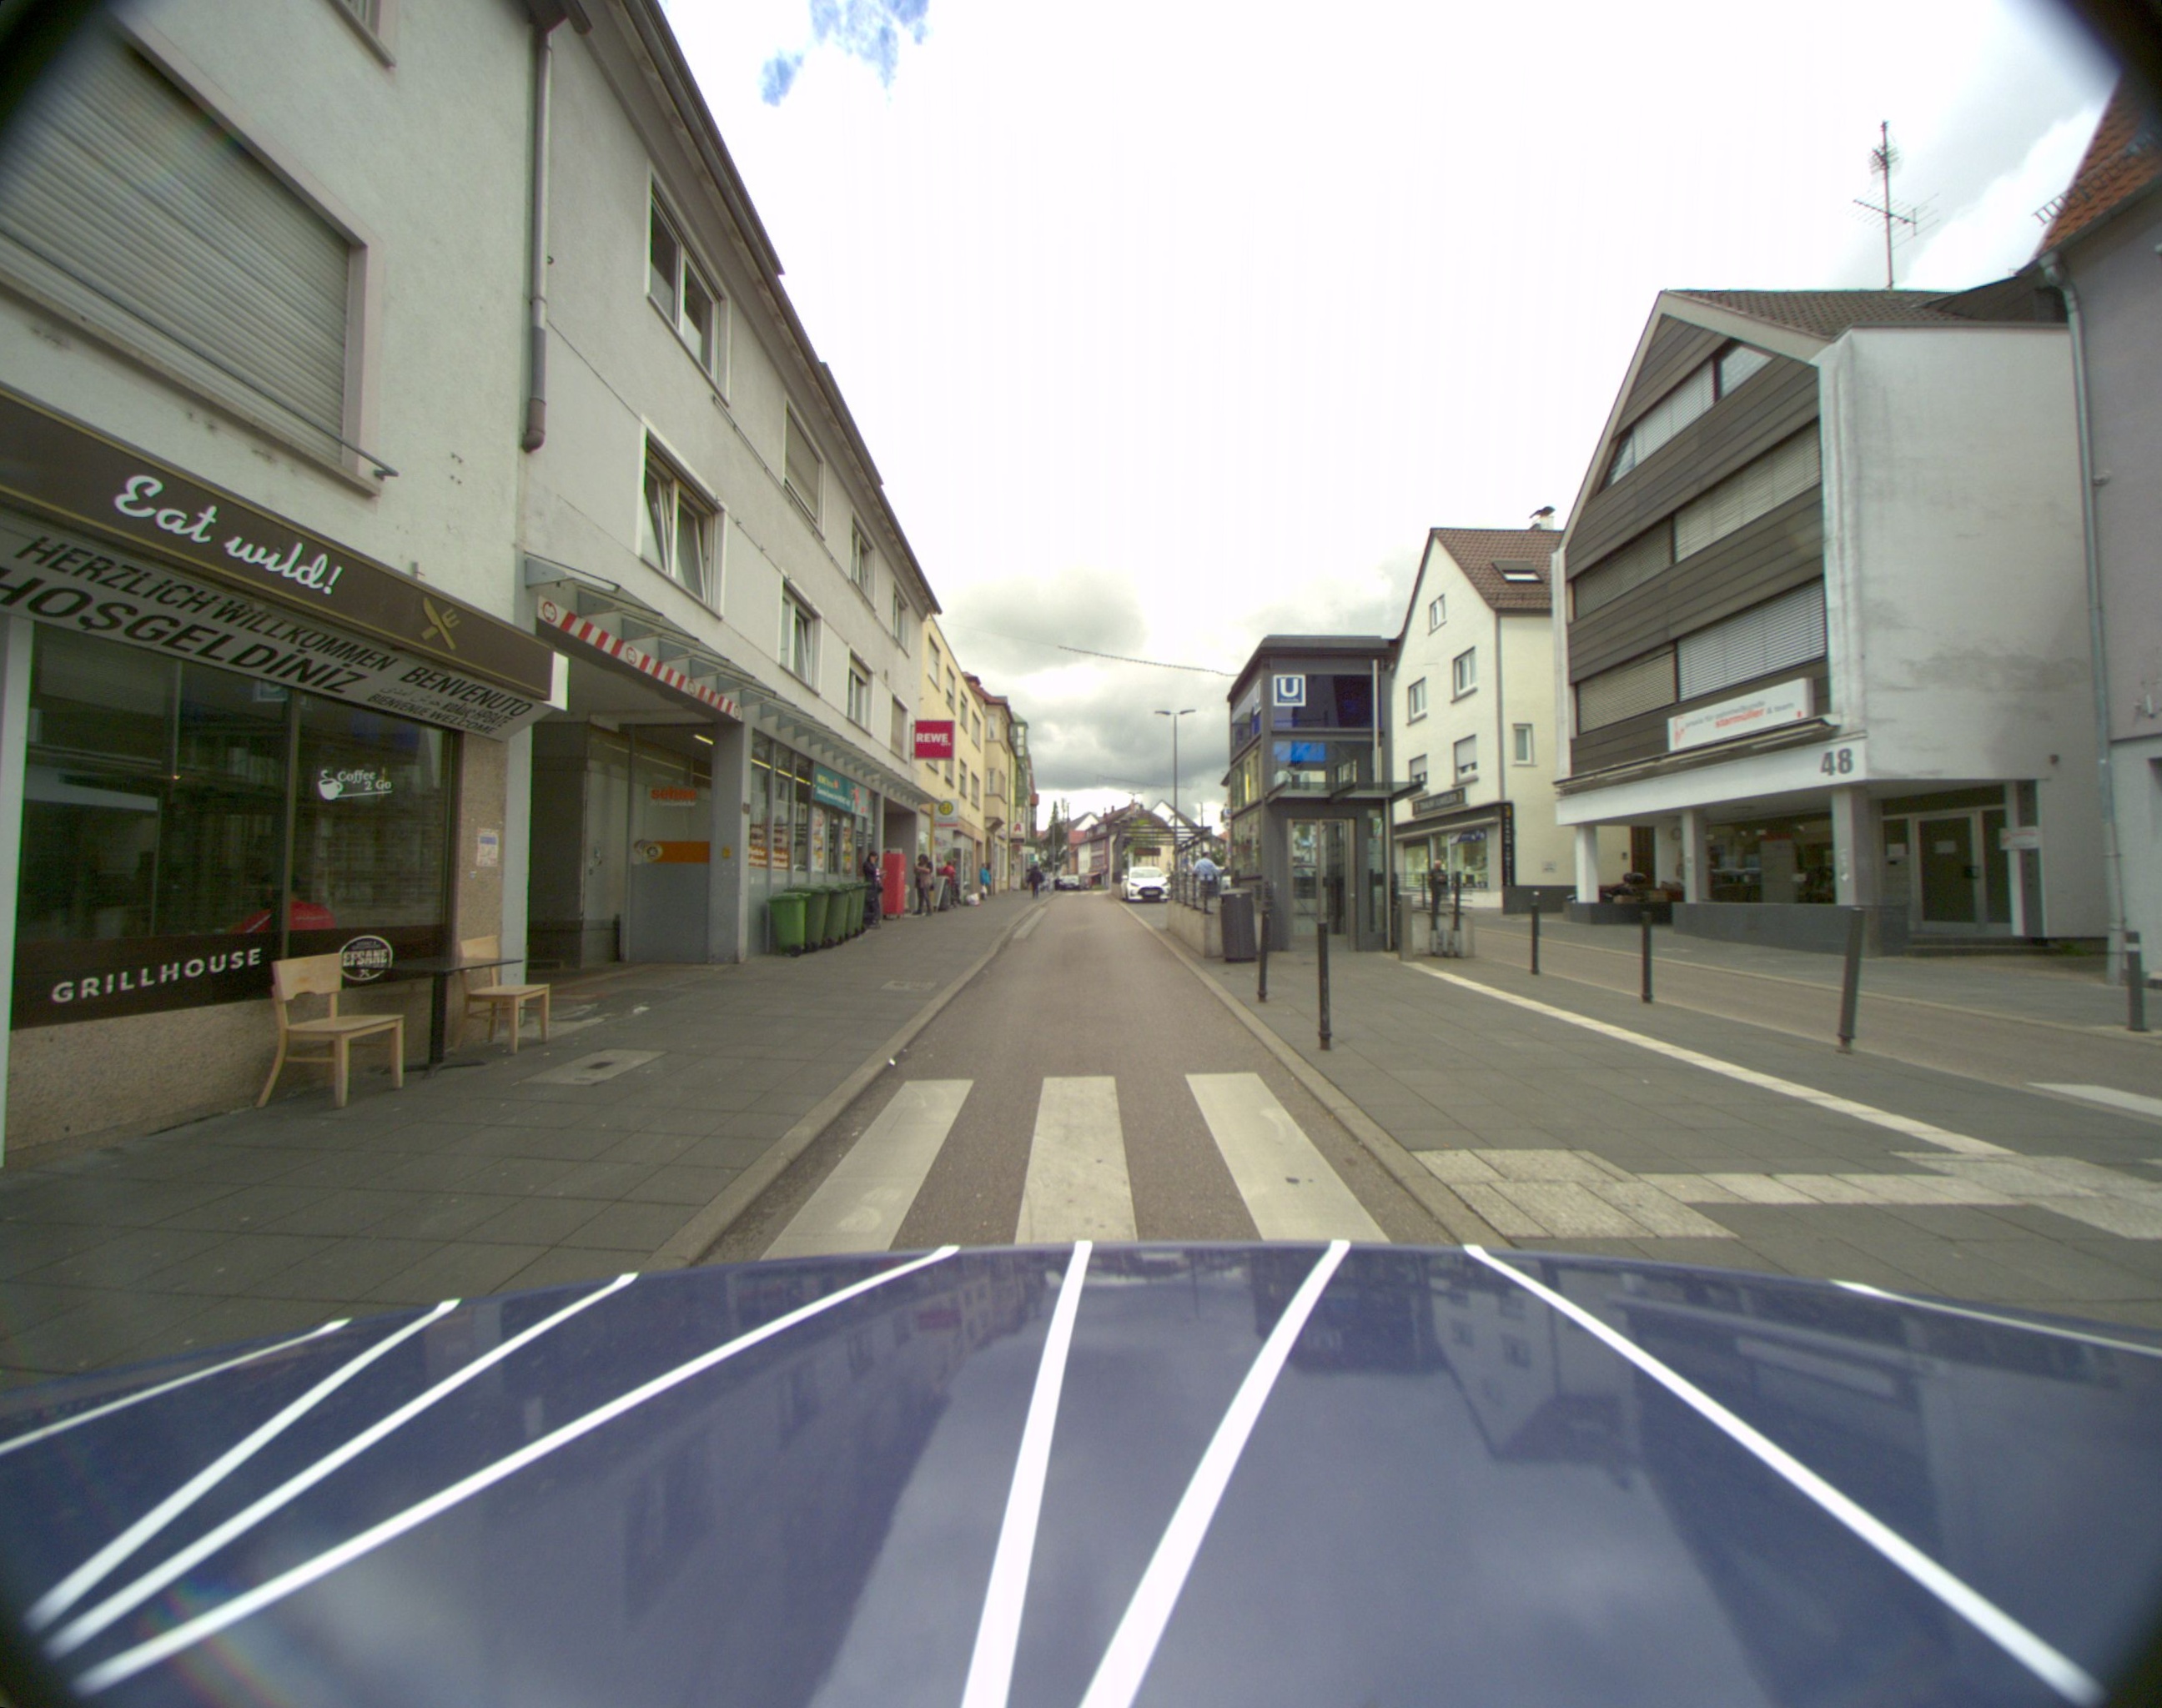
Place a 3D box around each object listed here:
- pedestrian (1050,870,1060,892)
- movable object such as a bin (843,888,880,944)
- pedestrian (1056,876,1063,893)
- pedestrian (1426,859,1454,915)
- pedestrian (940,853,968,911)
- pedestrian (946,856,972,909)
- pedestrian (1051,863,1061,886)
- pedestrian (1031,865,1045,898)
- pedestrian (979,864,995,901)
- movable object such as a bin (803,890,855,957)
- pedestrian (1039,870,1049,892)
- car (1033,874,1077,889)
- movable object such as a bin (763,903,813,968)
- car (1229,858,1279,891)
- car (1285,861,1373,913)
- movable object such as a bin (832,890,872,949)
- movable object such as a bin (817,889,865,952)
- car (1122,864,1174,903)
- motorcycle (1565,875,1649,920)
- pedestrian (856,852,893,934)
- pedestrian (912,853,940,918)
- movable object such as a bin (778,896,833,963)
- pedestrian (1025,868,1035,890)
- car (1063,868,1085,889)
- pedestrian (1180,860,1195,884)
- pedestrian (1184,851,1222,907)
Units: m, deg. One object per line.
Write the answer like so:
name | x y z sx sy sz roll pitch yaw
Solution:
pedestrian | -2.006 2.060 57.776 0.657 1.620 0.743 -2 1 -6
movable object such as a bin | -4.270 1.191 14.827 0.560 1.050 0.559 0 0 0
pedestrian | -2.131 3.049 75.863 0.657 1.620 0.743 -2 1 -3
pedestrian | 11.195 1.028 23.719 0.592 1.706 0.513 -2 1 0
pedestrian | -4.083 0.898 24.457 0.629 1.811 0.605 -3 1 -34
pedestrian | -4.068 0.933 25.309 0.608 1.716 0.626 -3 1 -29
pedestrian | -1.799 1.438 54.488 0.657 1.620 0.743 -2 1 -6
pedestrian | -2.185 1.389 38.849 0.657 1.620 0.743 -2 1 -2
pedestrian | -4.213 1.282 34.241 0.627 1.620 0.607 -2 1 -5
movable object such as a bin | -4.262 1.165 12.868 0.652 1.074 0.673 0 0 0
pedestrian | -2.810 2.061 58.090 0.657 1.620 0.743 -2 1 -6
car | -2.917 3.019 84.501 4.634 1.570 1.774 -1 0 -33
movable object such as a bin | -4.464 1.238 11.614 0.568 0.951 0.498 0 0 0
car | 9.186 1.067 40.687 1.684 1.562 4.122 -2 0 0
car | 8.586 1.076 26.673 1.684 1.562 4.122 -2 0 0
movable object such as a bin | -4.286 1.223 14.244 0.569 1.053 0.574 0 0 0
movable object such as a bin | -4.280 1.169 13.599 0.652 1.074 0.659 0 0 0
car | 2.704 1.199 31.311 1.754 1.452 3.602 -2 -2 0
motorcycle | 14.375 1.183 20.786 1.854 1.134 0.634 -2 1 -1
pedestrian | -4.481 0.829 16.501 0.628 1.716 0.606 -2 1 -23
pedestrian | -4.195 0.844 20.597 0.627 1.716 0.607 2 1 -5
movable object such as a bin | -4.421 1.194 12.209 0.670 1.024 0.560 0 0 0
pedestrian | -3.845 1.897 57.639 0.657 1.620 0.743 -2 1 -2
car | -0.539 2.021 64.016 1.741 1.608 3.843 -2 0 0
pedestrian | 7.394 1.232 52.956 0.745 1.620 0.655 -3 1 -39
pedestrian | 4.092 0.833 25.598 1.097 1.831 0.931 -2 1 1
